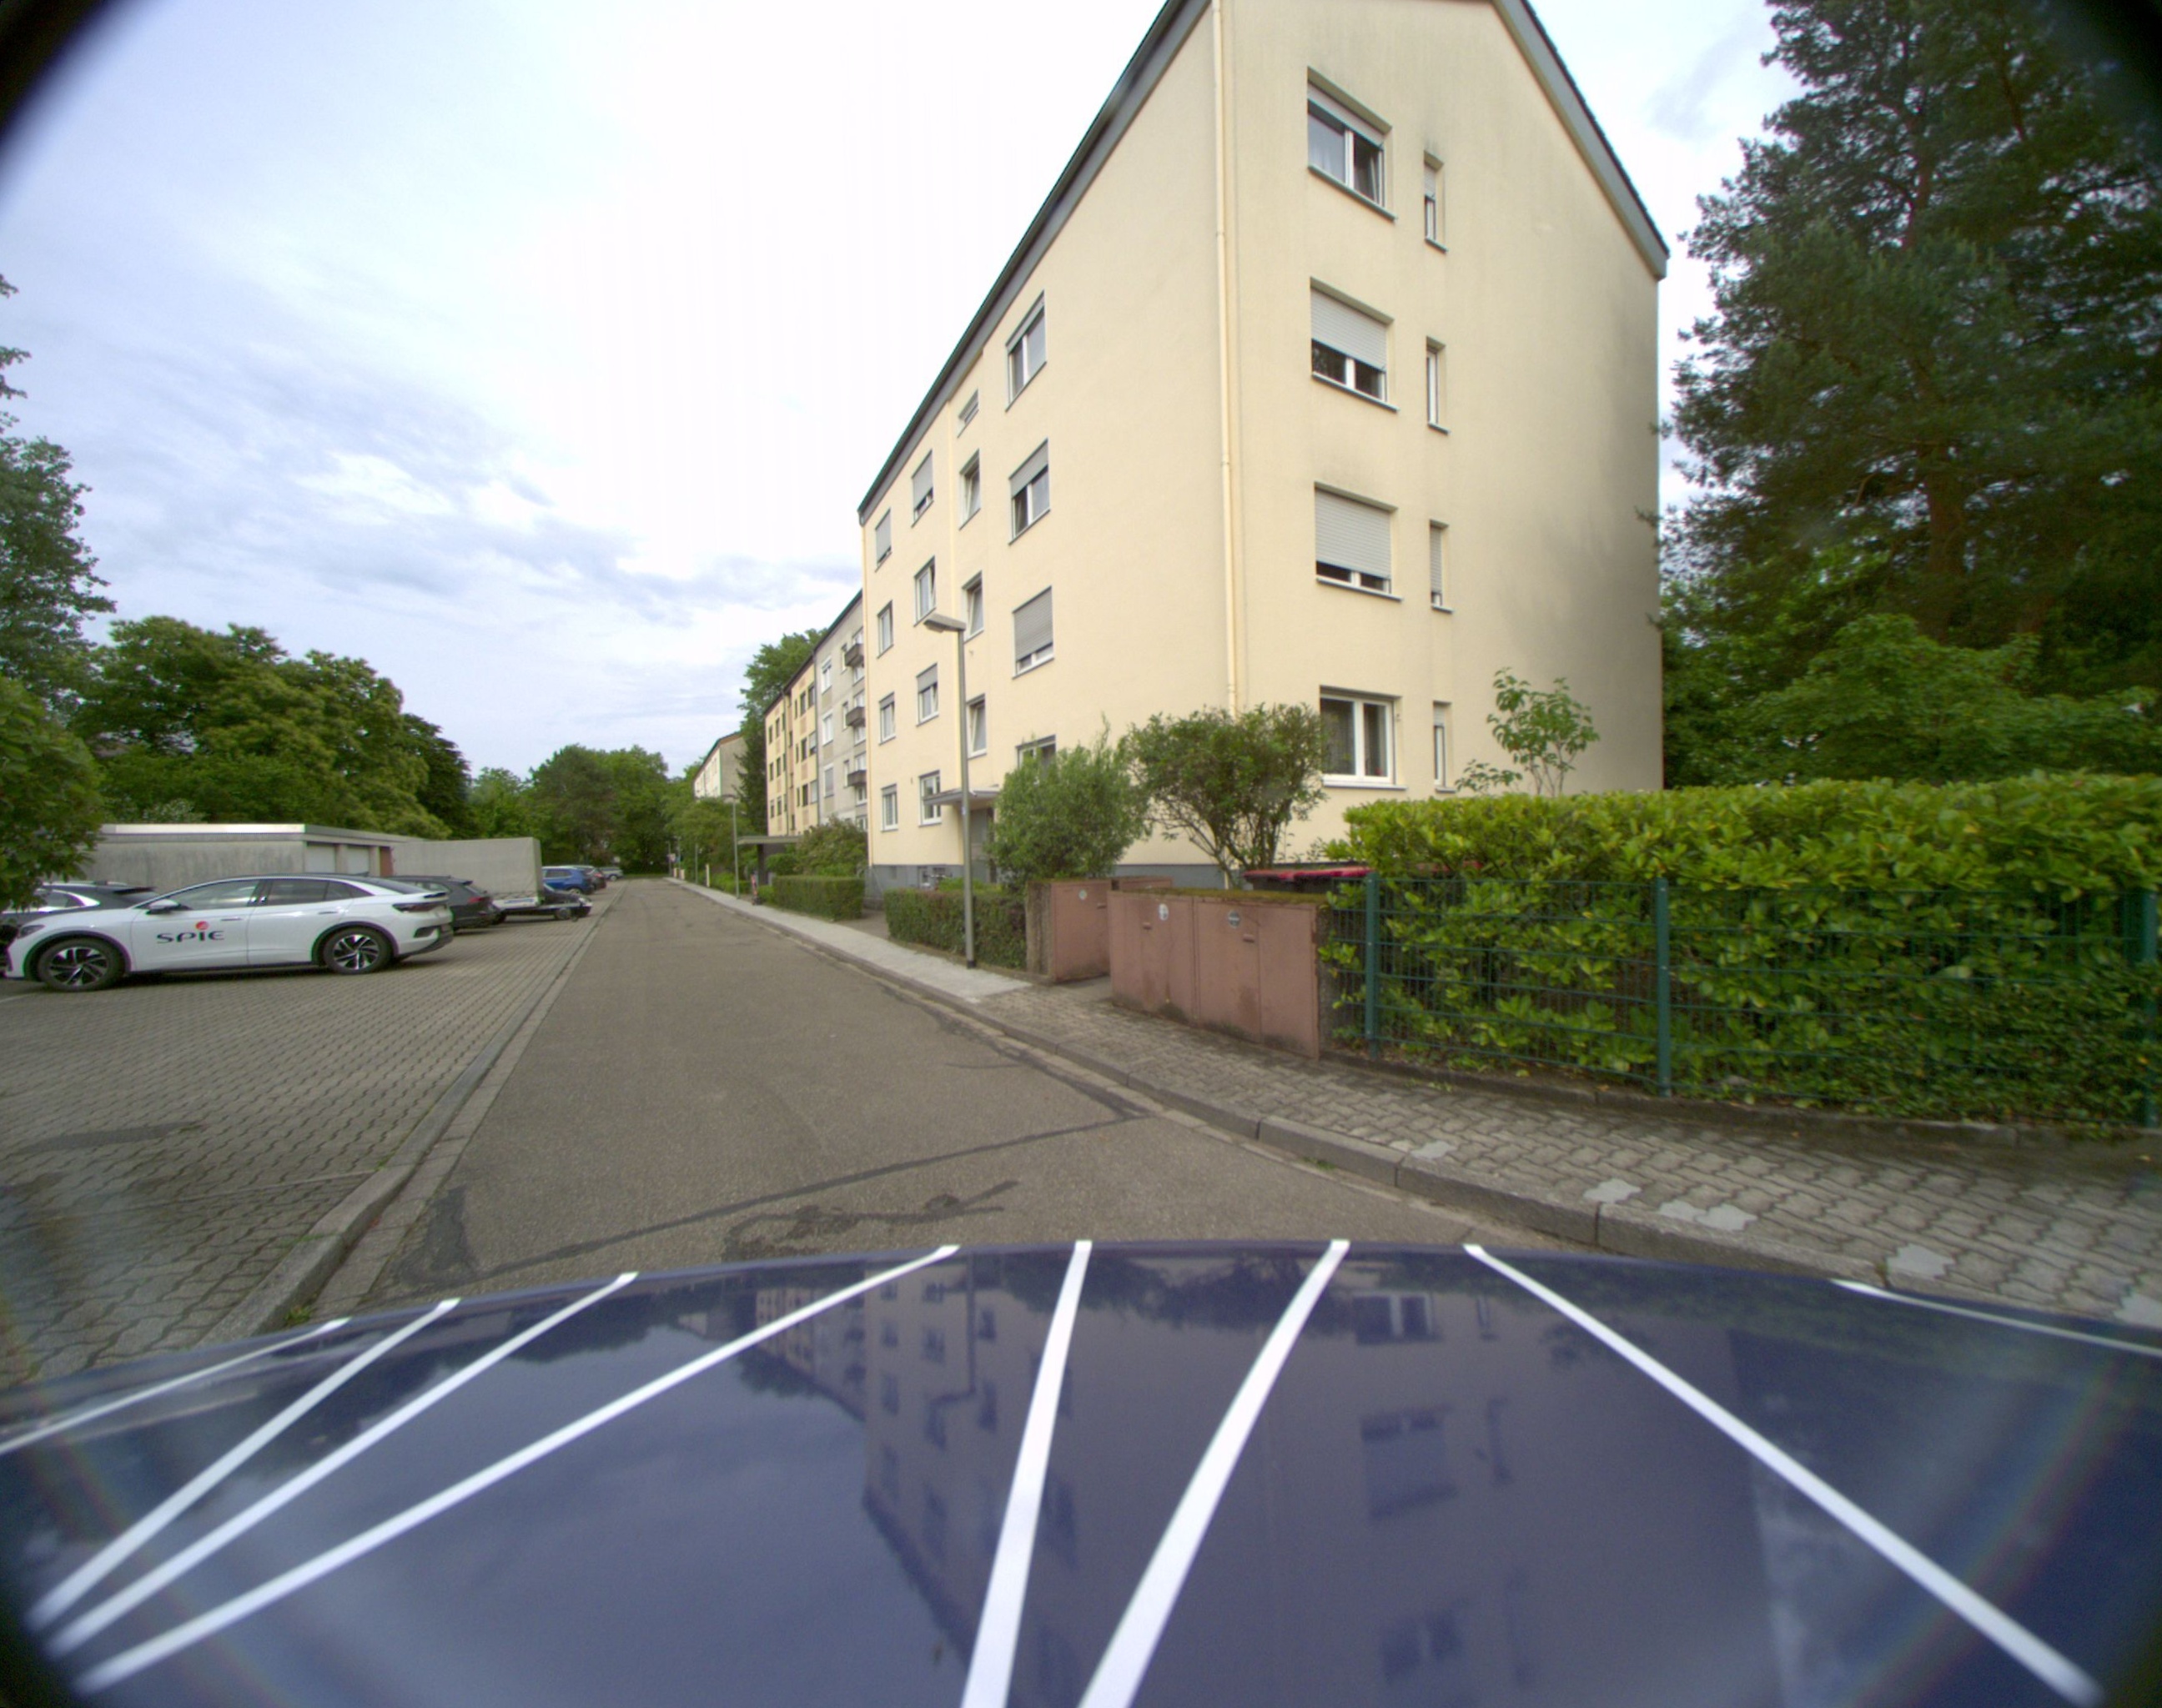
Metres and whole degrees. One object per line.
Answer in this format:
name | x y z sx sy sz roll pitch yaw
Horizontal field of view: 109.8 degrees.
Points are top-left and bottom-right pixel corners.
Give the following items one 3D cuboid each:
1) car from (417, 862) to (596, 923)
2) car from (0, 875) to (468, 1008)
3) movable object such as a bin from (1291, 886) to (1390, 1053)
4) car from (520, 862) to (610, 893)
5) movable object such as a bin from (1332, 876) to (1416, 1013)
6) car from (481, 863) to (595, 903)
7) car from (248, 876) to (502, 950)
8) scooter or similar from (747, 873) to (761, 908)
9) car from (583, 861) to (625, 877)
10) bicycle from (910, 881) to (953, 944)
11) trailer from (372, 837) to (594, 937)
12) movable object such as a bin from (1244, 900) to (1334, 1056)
car | -18.077 1.188 24.210 4.332 1.791 1.995 1 -1 -31
car | -12.645 1.193 11.789 4.558 1.579 1.984 -1 0 -28
movable object such as a bin | 1.985 0.848 5.823 0.508 1.181 0.514 0 0 -31
car | -30.015 1.371 44.347 4.216 1.717 1.995 1 -1 -31
movable object such as a bin | 2.691 0.797 6.990 0.508 1.181 0.514 0 0 -31
car | -24.324 1.290 34.213 4.007 1.693 1.995 1 -1 -31
car | -16.497 1.316 18.069 4.148 1.440 1.608 -1 0 -31
scooter or similar | -11.693 1.293 27.144 0.274 1.204 1.162 -2 0 -31
car | -55.596 1.733 88.583 4.113 1.636 1.783 -1 1 -31
bicycle | -2.825 1.070 14.316 0.319 1.069 1.414 -3 2 -30
trailer | -16.755 0.843 21.659 4.631 2.510 1.938 -2 1 -30
movable object such as a bin | 1.717 0.992 6.300 0.508 1.181 0.514 0 0 -31
